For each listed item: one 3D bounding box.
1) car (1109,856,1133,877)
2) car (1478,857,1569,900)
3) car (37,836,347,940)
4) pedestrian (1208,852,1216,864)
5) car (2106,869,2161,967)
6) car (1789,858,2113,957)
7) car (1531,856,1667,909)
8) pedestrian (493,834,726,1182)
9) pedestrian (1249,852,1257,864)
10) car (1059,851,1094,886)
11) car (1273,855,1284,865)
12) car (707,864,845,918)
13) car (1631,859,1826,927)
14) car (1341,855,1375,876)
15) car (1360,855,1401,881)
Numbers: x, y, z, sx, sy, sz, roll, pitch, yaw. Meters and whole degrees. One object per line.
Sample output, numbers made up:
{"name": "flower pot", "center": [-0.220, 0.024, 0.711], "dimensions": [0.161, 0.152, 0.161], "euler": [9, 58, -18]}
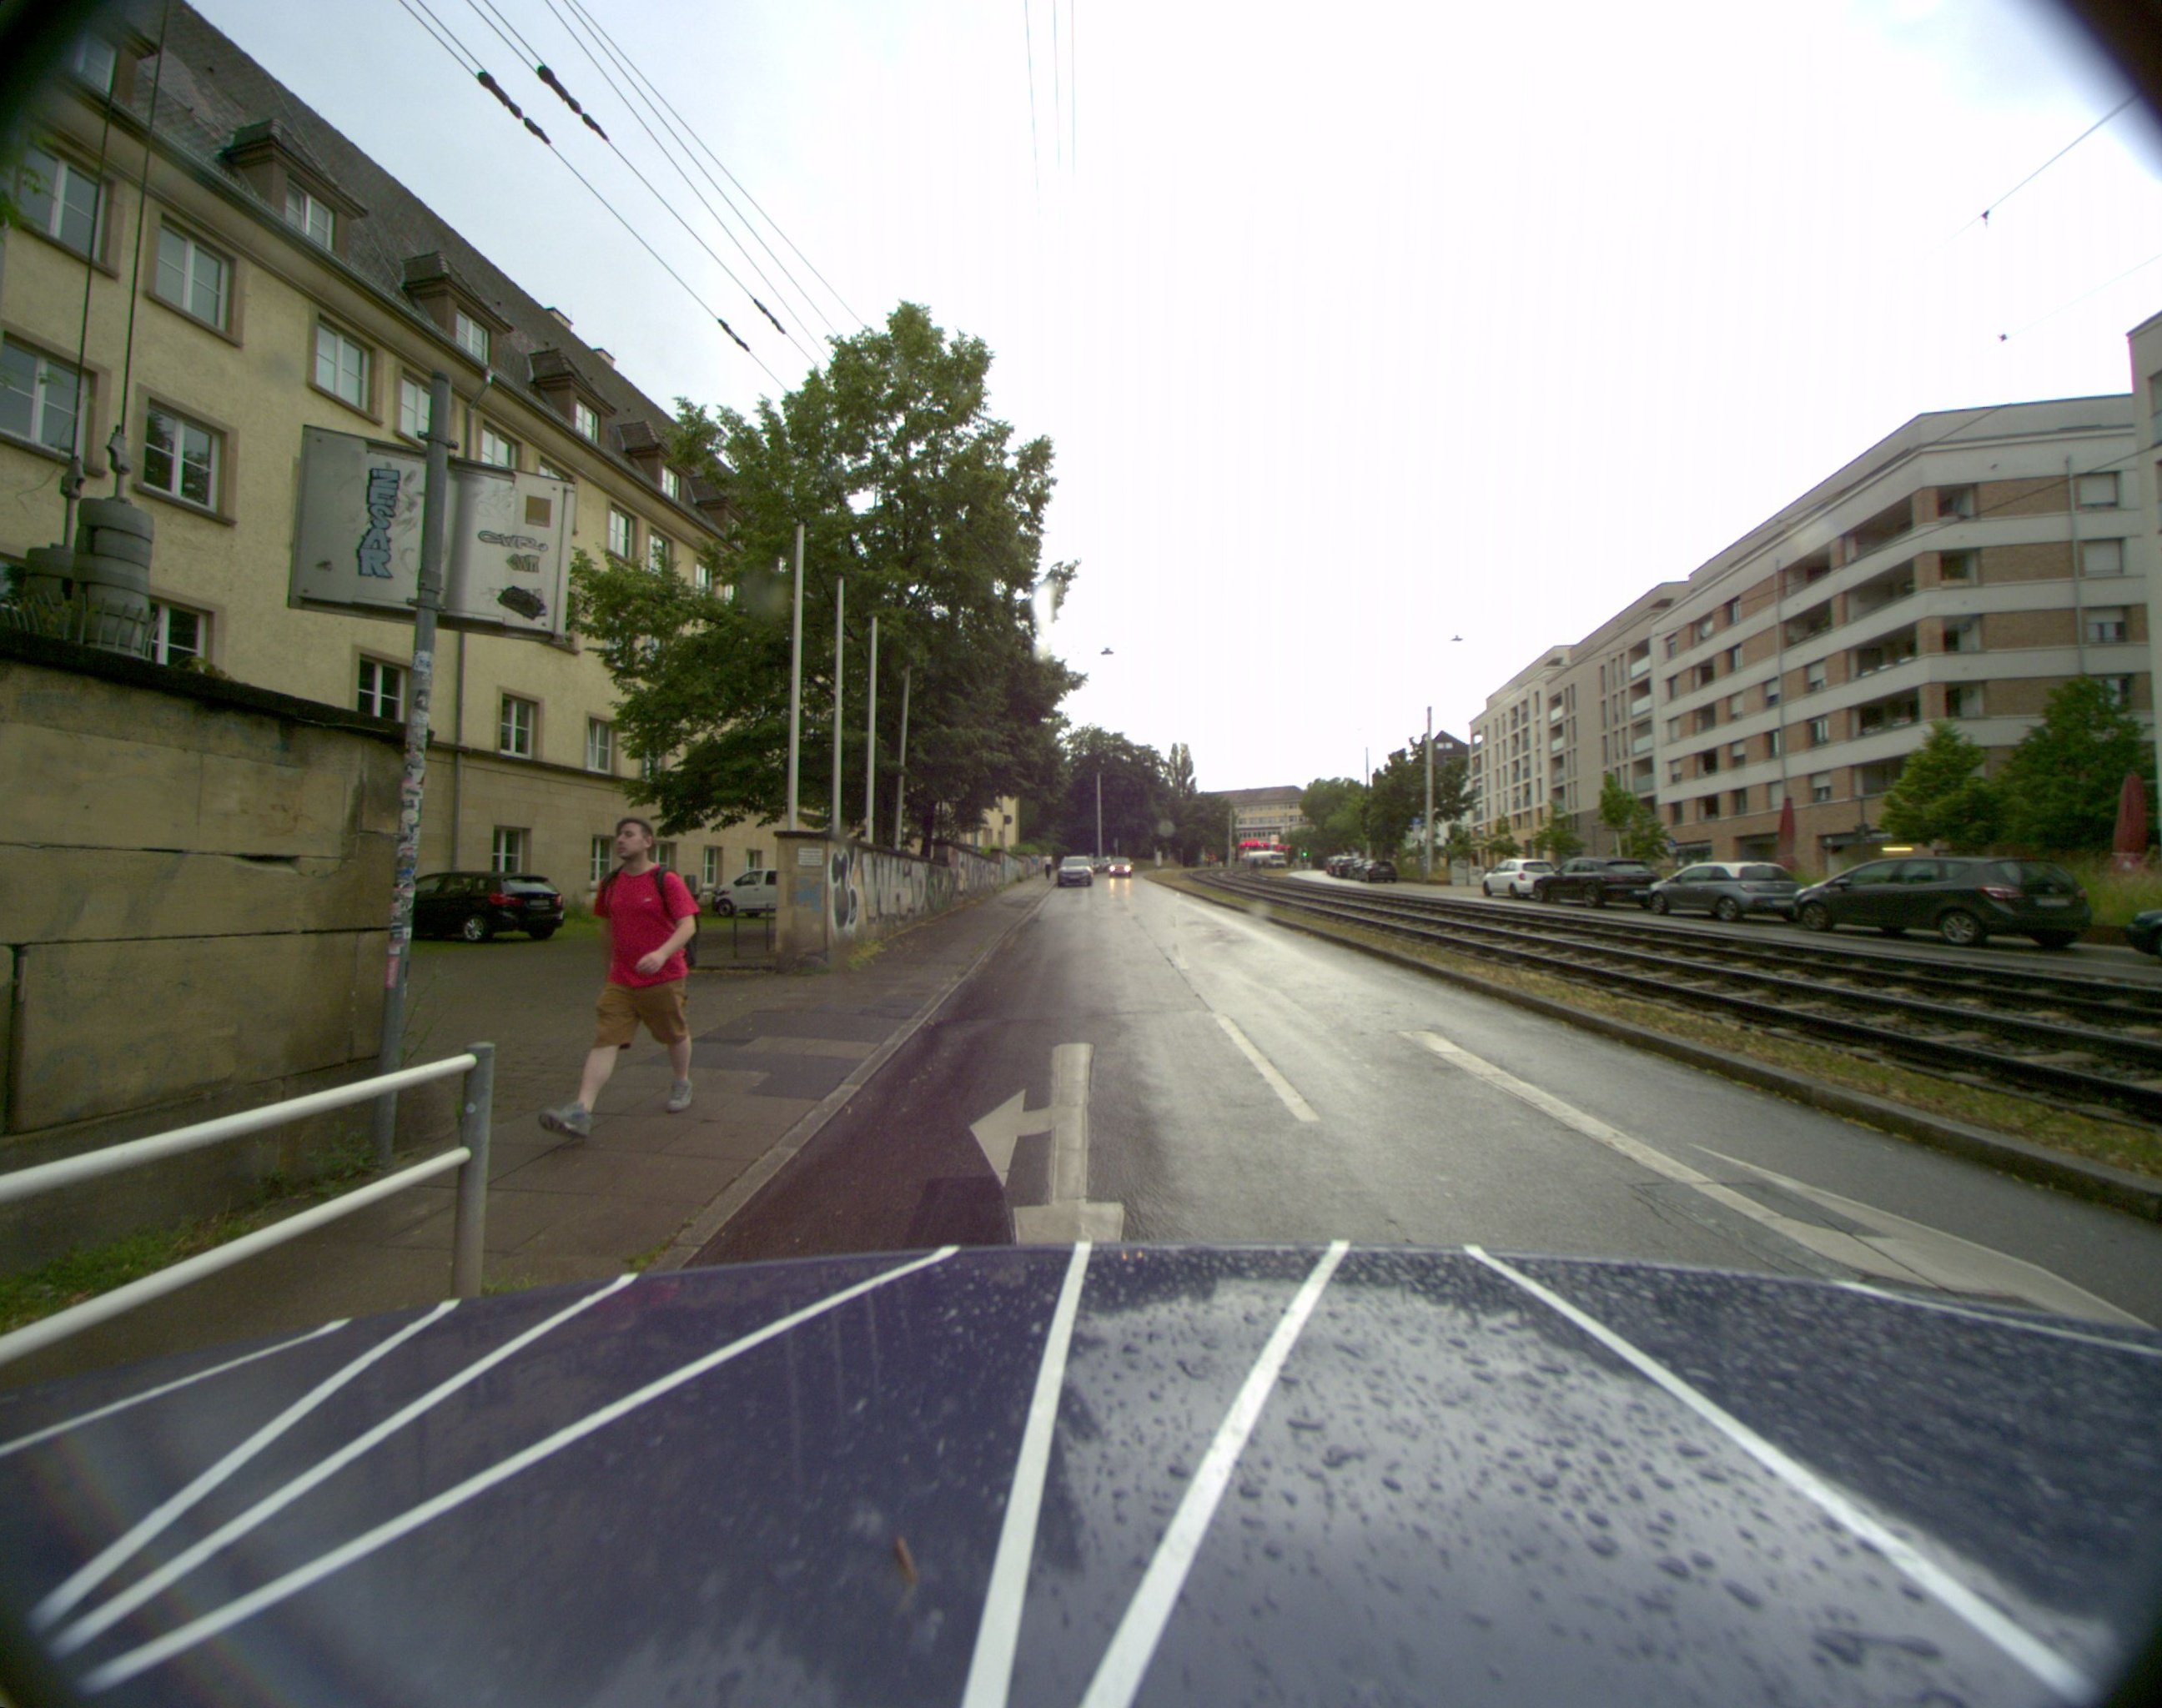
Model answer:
{"name": "car", "center": [2.983, 0.927, 57.129], "dimensions": [1.594, 1.455, 3.669], "euler": [0, 1, 0]}
{"name": "car", "center": [17.083, 0.904, 29.536], "dimensions": [1.649, 1.496, 3.782], "euler": [-1, 0, 6]}
{"name": "car", "center": [-14.321, 0.535, 12.297], "dimensions": [3.909, 1.461, 1.614], "euler": [-2, 1, 14]}
{"name": "pedestrian", "center": [19.585, 0.630, 113.552], "dimensions": [0.816, 1.754, 0.751], "euler": [2, 0, 40]}
{"name": "car", "center": [16.366, 0.932, 9.492], "dimensions": [1.684, 1.372, 4.032], "euler": [-1, 0, 0]}
{"name": "car", "center": [16.195, 0.891, 14.506], "dimensions": [1.684, 1.554, 3.928], "euler": [-1, 0, 0]}
{"name": "car", "center": [16.569, 0.854, 24.587], "dimensions": [1.683, 1.496, 4.406], "euler": [-1, 0, 5]}
{"name": "pedestrian", "center": [-2.598, 0.789, 4.291], "dimensions": [0.748, 1.754, 0.818], "euler": [2, 0, 0]}
{"name": "pedestrian", "center": [25.506, 0.624, 112.791], "dimensions": [0.820, 1.754, 0.747], "euler": [2, 0, -37]}
{"name": "car", "center": [-0.267, 0.744, 40.913], "dimensions": [1.726, 1.676, 3.866], "euler": [-3, 1, 0]}
{"name": "car", "center": [34.783, 1.016, 133.838], "dimensions": [1.666, 1.597, 3.812], "euler": [-2, 1, 16]}
{"name": "car", "center": [-11.549, 1.392, 28.873], "dimensions": [4.526, 1.769, 1.824], "euler": [-2, 1, 11]}
{"name": "car", "center": [16.553, 0.927, 19.711], "dimensions": [1.684, 1.496, 3.928], "euler": [-1, 0, 0]}
{"name": "car", "center": [20.571, 0.830, 56.450], "dimensions": [1.653, 1.455, 3.672], "euler": [-2, 1, 9]}
{"name": "car", "center": [19.082, 0.884, 48.576], "dimensions": [1.653, 1.455, 3.672], "euler": [-2, 1, 9]}
